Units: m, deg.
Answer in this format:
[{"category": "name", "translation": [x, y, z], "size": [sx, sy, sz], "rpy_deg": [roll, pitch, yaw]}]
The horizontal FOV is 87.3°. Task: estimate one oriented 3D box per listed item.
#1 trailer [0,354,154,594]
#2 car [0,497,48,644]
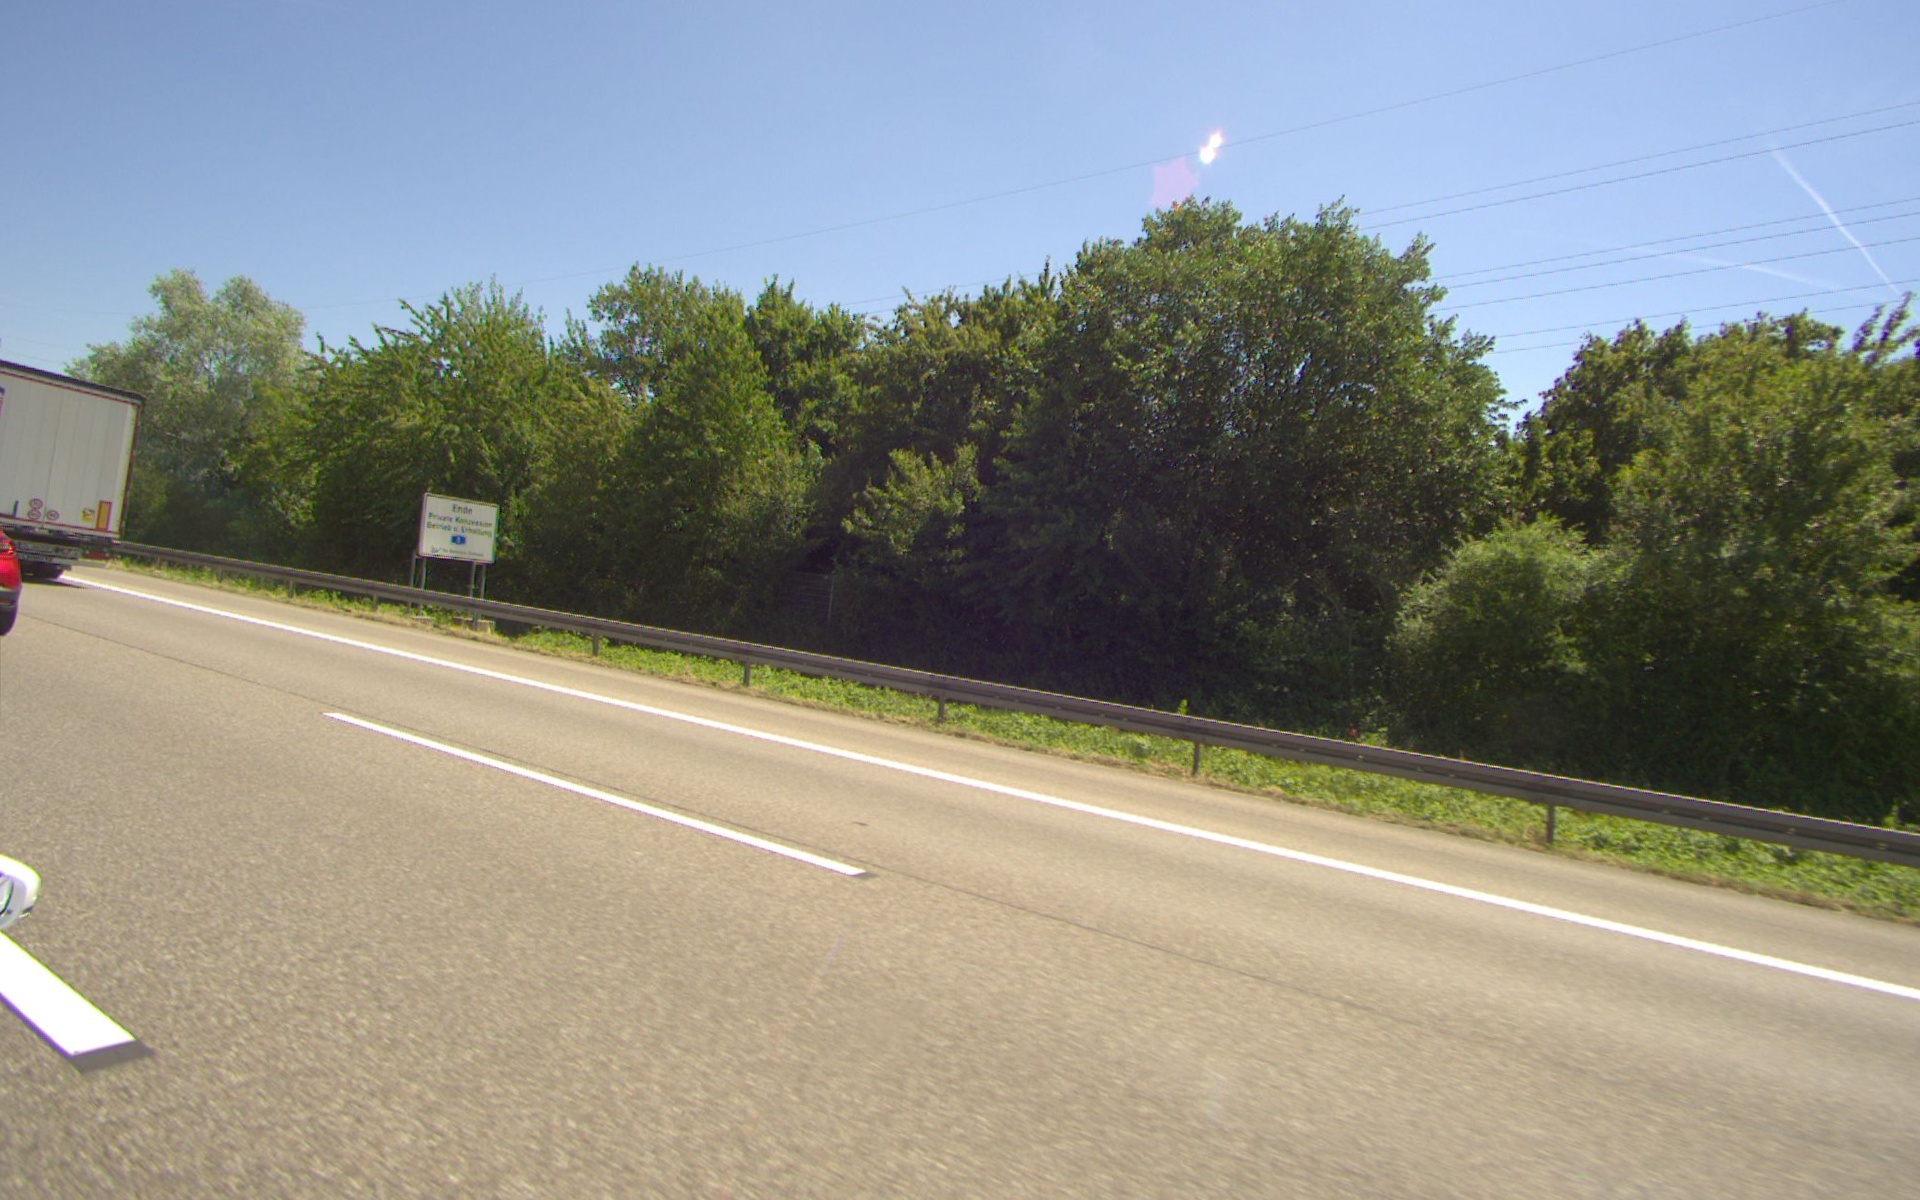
[{"category": "trailer", "translation": [-22.936, -2.962, 22.714], "size": [13.349, 4.214, 2.793], "rpy_deg": [6, 0, 32]}, {"category": "car", "translation": [-12.284, -0.556, 11.373], "size": [3.934, 1.564, 1.806], "rpy_deg": [6, -1, 32]}]
